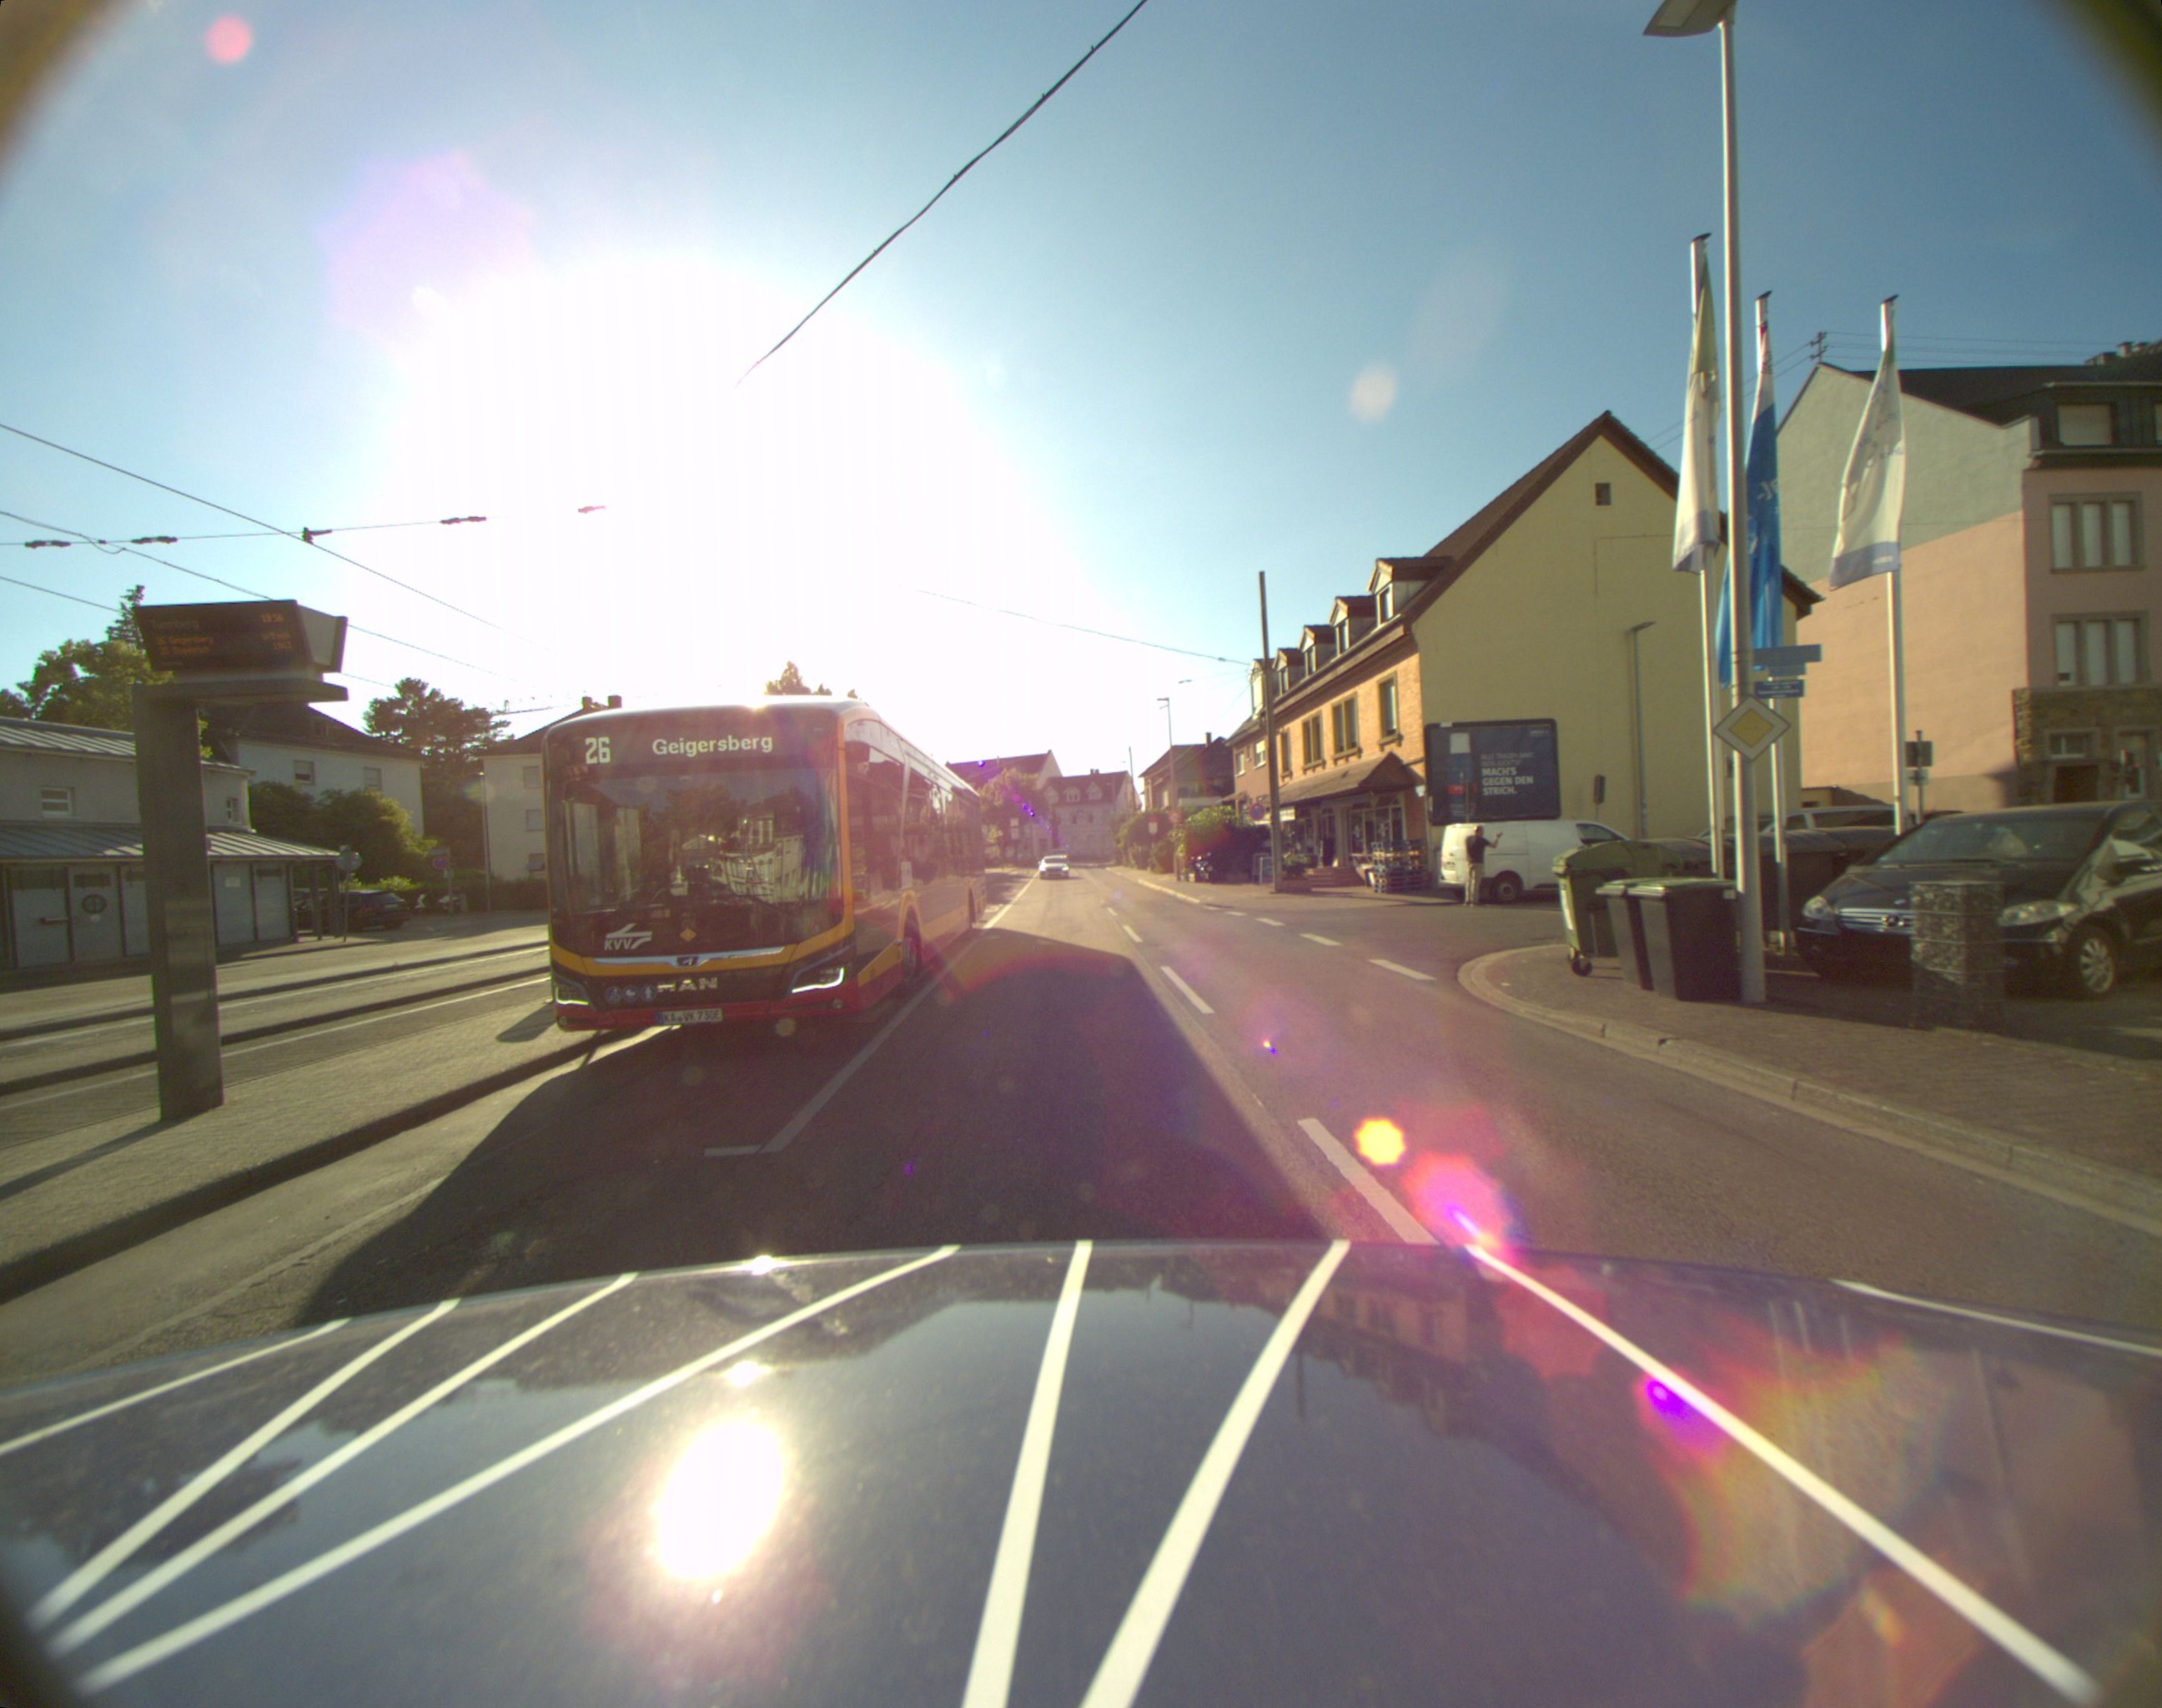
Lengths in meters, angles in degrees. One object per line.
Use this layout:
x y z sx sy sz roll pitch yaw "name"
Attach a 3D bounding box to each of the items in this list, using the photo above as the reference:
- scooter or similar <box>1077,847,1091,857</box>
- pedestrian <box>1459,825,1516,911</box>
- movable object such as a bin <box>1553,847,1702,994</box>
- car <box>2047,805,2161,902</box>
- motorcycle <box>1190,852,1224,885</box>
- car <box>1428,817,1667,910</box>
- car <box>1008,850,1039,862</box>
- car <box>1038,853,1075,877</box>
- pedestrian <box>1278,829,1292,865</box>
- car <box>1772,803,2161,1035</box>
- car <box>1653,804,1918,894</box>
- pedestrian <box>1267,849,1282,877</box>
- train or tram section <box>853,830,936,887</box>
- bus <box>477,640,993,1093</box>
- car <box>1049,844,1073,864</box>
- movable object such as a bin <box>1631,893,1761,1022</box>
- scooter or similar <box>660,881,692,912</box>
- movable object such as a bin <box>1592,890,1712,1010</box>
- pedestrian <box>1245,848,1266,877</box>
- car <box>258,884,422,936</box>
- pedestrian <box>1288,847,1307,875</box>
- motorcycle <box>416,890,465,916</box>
0.509 -0.294 112.489 1.883 1.358 0.625 -3 1 21 "scooter or similar"
9.156 0.312 17.138 0.794 1.857 0.820 -3 1 1 "pedestrian"
5.968 0.711 8.413 1.056 1.473 1.315 -4 -3 27 "movable object such as a bin"
20.261 -0.079 13.371 3.997 1.517 1.998 -3 5 -1 "car"
5.348 0.588 32.467 0.841 1.275 2.231 -4 1 -4 "motorcycle"
11.235 0.212 18.516 4.628 1.922 1.999 -3 1 -4 "car"
-8.583 0.282 113.340 4.196 1.454 1.610 -4 0 30 "car"
-1.532 0.685 49.691 1.998 1.454 4.449 -3 0 2 "car"
8.791 -0.310 32.747 0.465 1.551 0.502 -2 2 0 "pedestrian"
8.736 0.410 6.870 4.002 1.559 1.771 -4 0 -16 "car"
17.358 -0.141 18.851 4.974 1.884 1.999 -3 1 -6 "car"
8.684 0.396 34.150 0.524 1.251 0.465 -3 1 0 "pedestrian"
-13.247 0.136 55.574 2.965 3.514 13.458 -2 1 -2 "train or tram section"
-3.369 0.088 11.934 2.695 3.396 12.016 -3 0 -1 "bus"
-2.250 0.015 84.025 1.872 1.922 4.788 -5 0 -8 "car"
5.434 0.899 6.752 0.641 1.063 0.581 -3 -2 11 "movable object such as a bin"
-17.073 1.763 32.033 0.467 1.201 1.209 -3 1 10 "scooter or similar"
5.513 0.916 7.376 0.661 1.056 0.585 -5 -1 11 "movable object such as a bin"
7.790 0.380 33.882 0.746 1.236 0.667 -3 1 2 "pedestrian"
-28.773 2.143 29.604 4.449 1.759 2.000 -2 1 2 "car"
8.885 0.293 31.173 0.564 1.103 0.632 -3 1 -1 "pedestrian"
-32.252 2.480 38.279 1.827 1.155 0.558 -3 1 -4 "motorcycle"
